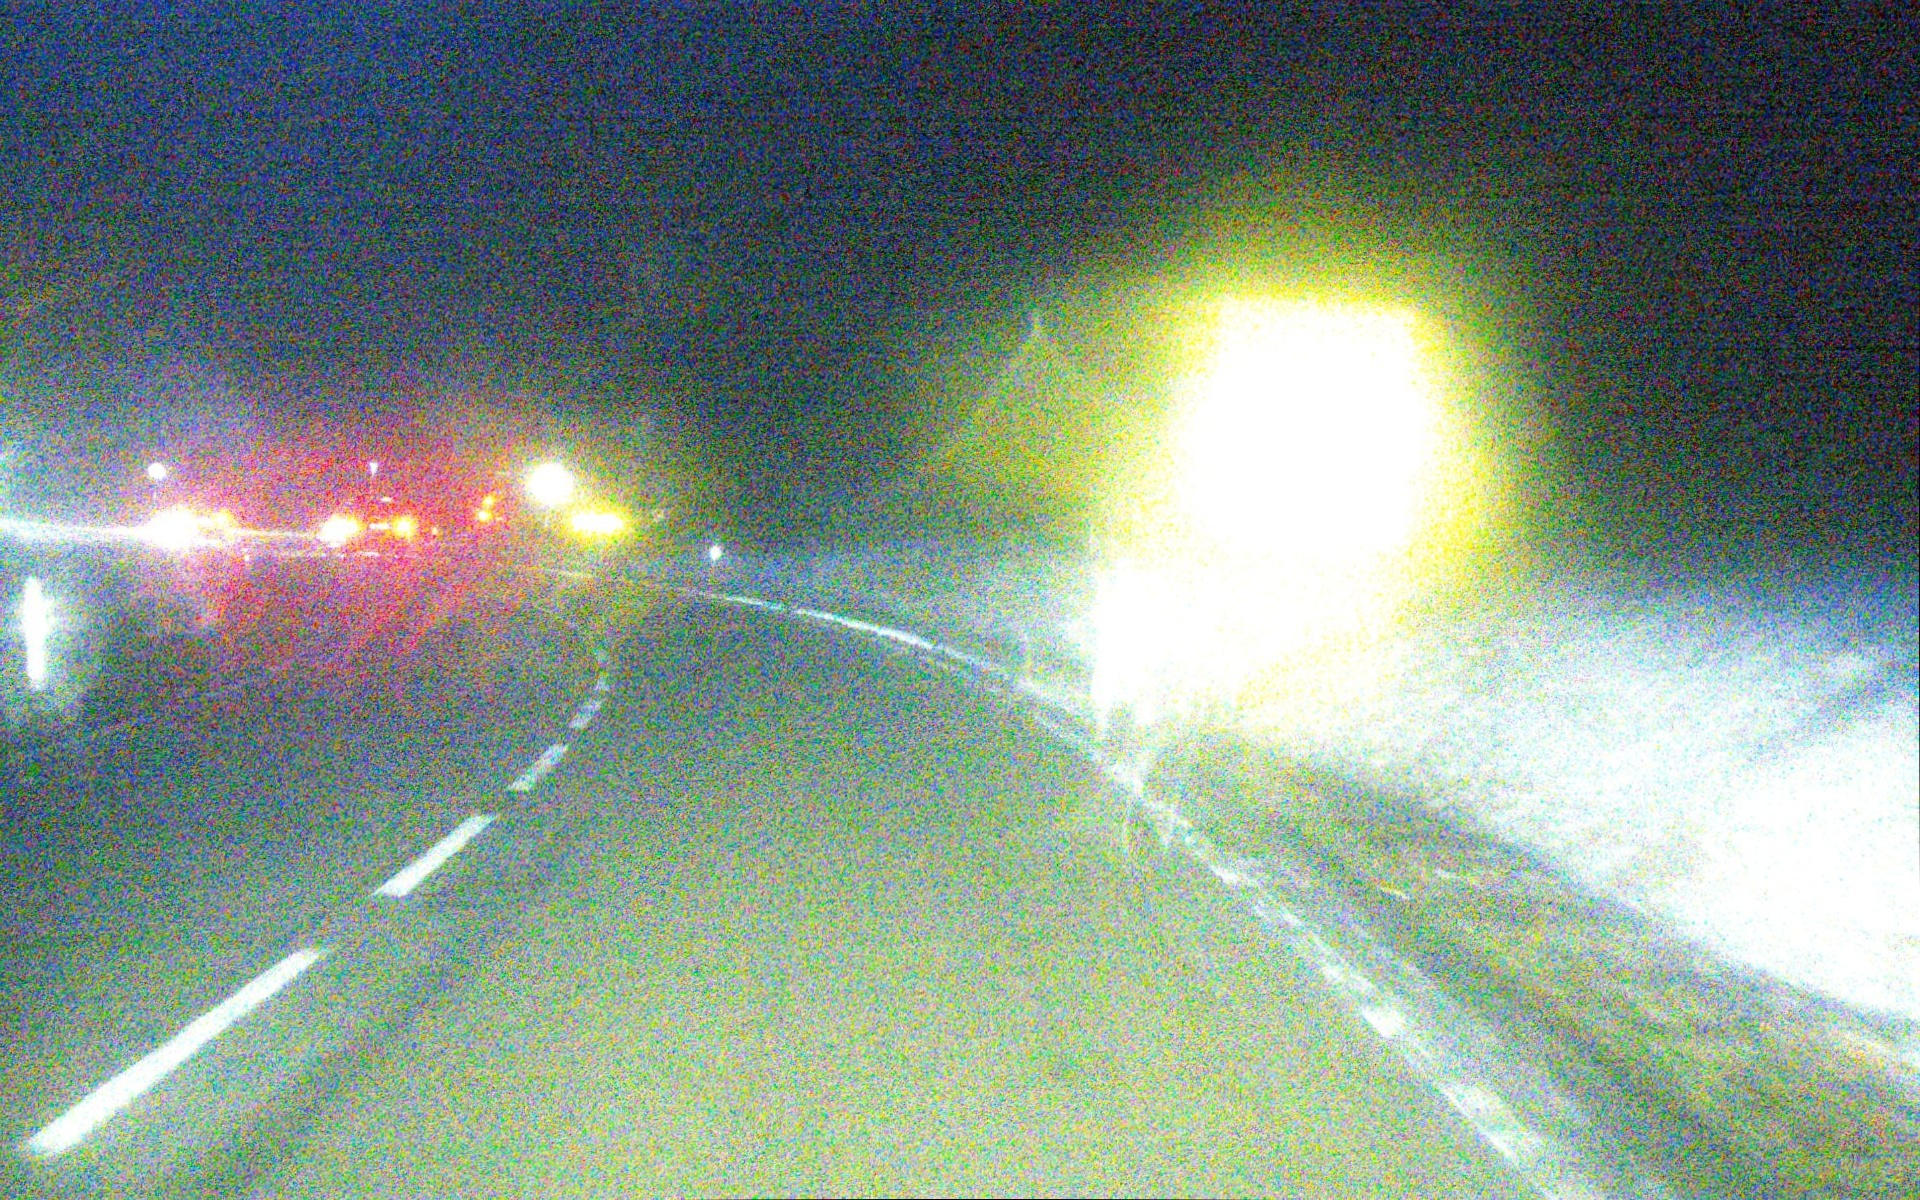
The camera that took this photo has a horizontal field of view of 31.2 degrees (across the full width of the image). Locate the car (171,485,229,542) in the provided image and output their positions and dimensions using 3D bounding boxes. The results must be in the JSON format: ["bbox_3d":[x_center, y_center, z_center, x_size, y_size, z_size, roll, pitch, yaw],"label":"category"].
[{"bbox_3d":[-27.677,-3.131,125.194,1.993,2.007,4.001,1,1,-12],"label":"car"}]

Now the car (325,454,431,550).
[{"bbox_3d":[-17.265,-2.946,101.686,2.538,2.489,5.717,1,5,-15],"label":"car"}]
